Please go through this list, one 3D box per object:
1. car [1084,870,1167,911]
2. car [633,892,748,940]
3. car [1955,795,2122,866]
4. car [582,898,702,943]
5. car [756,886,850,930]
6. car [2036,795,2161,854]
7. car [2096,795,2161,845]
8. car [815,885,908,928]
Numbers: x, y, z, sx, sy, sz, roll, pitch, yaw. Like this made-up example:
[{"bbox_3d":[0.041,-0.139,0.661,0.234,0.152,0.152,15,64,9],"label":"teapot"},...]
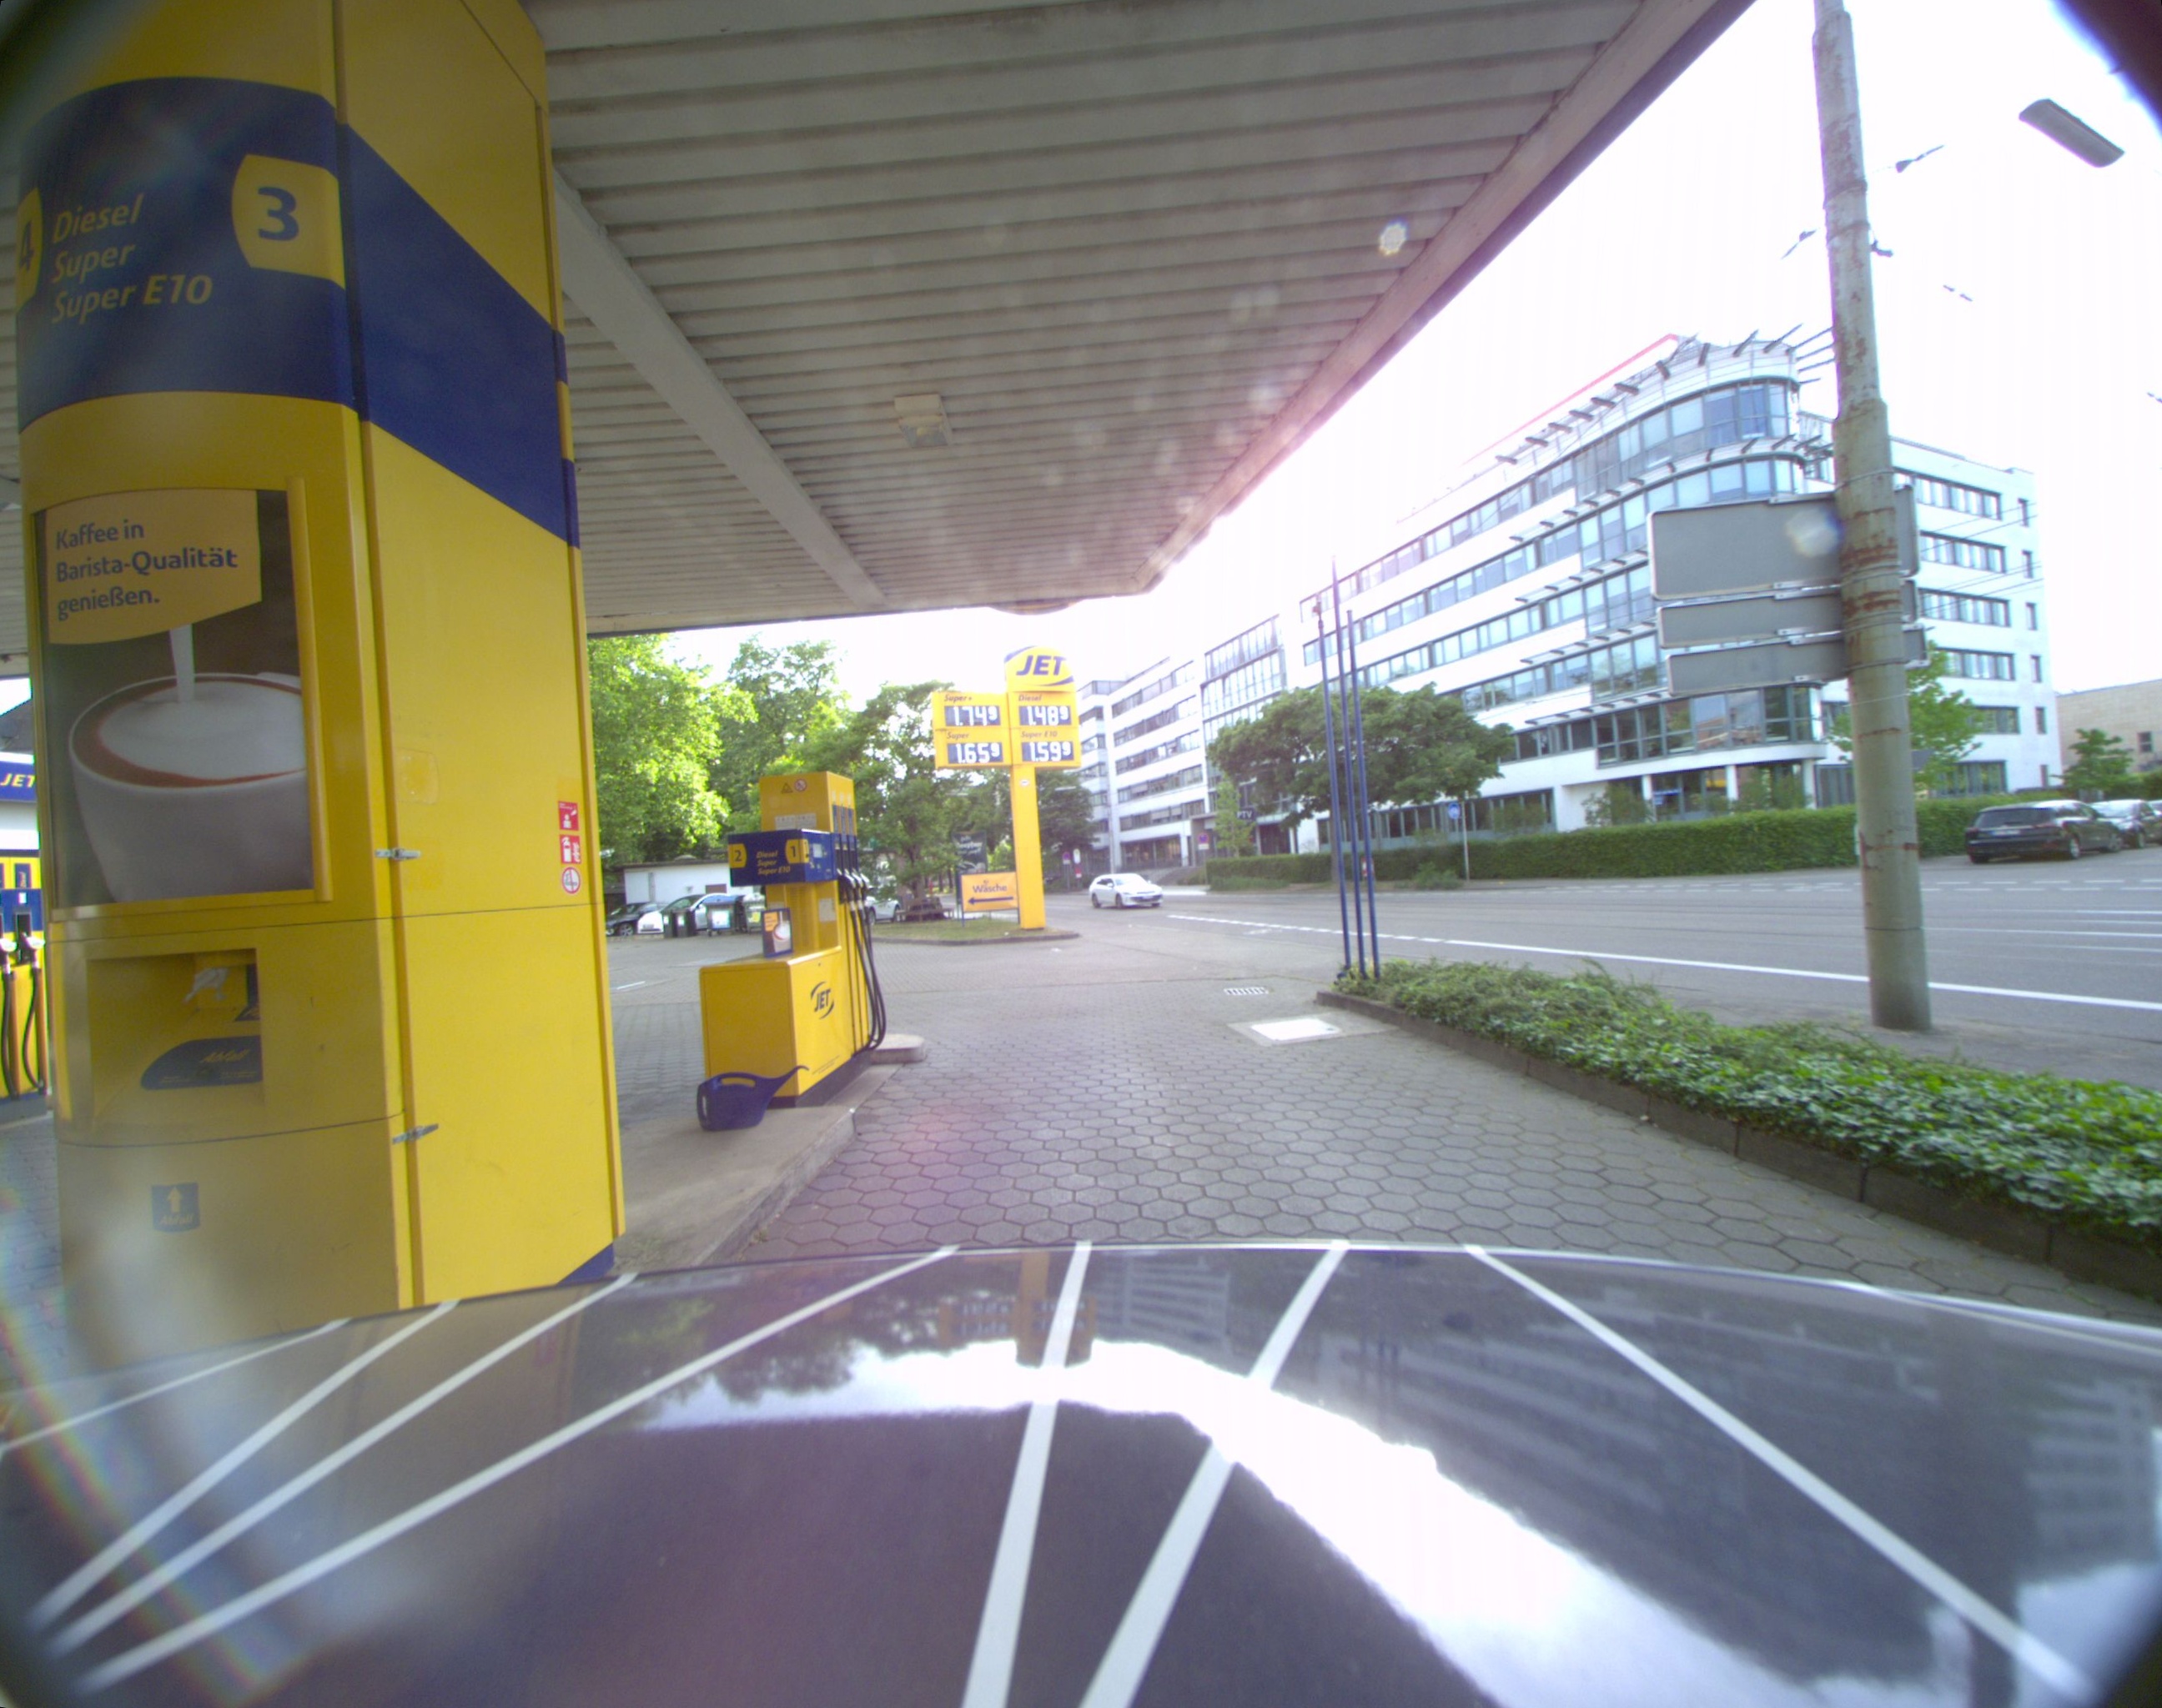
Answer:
[{"bbox_3d":[1.881,1.590,34.010,1.865,1.500,4.821,-5,0,-19],"label":"car"},{"bbox_3d":[-15.390,2.409,30.249,1.823,1.575,4.200,-4,-2,10],"label":"car"},{"bbox_3d":[27.418,-0.669,21.754,4.397,1.678,1.820,-4,-1,-24],"label":"car"},{"bbox_3d":[-17.535,2.627,30.603,1.823,1.426,4.200,-4,-2,10],"label":"car"},{"bbox_3d":[-11.747,2.262,32.460,1.823,1.575,4.200,-4,-2,10],"label":"car"},{"bbox_3d":[32.576,-0.958,24.064,4.201,1.568,1.820,-4,-1,-24],"label":"car"},{"bbox_3d":[37.105,-1.252,26.013,4.201,1.568,1.820,-4,-1,-24],"label":"car"},{"bbox_3d":[-8.657,2.044,30.373,1.823,1.449,4.200,-4,-2,10],"label":"car"}]
